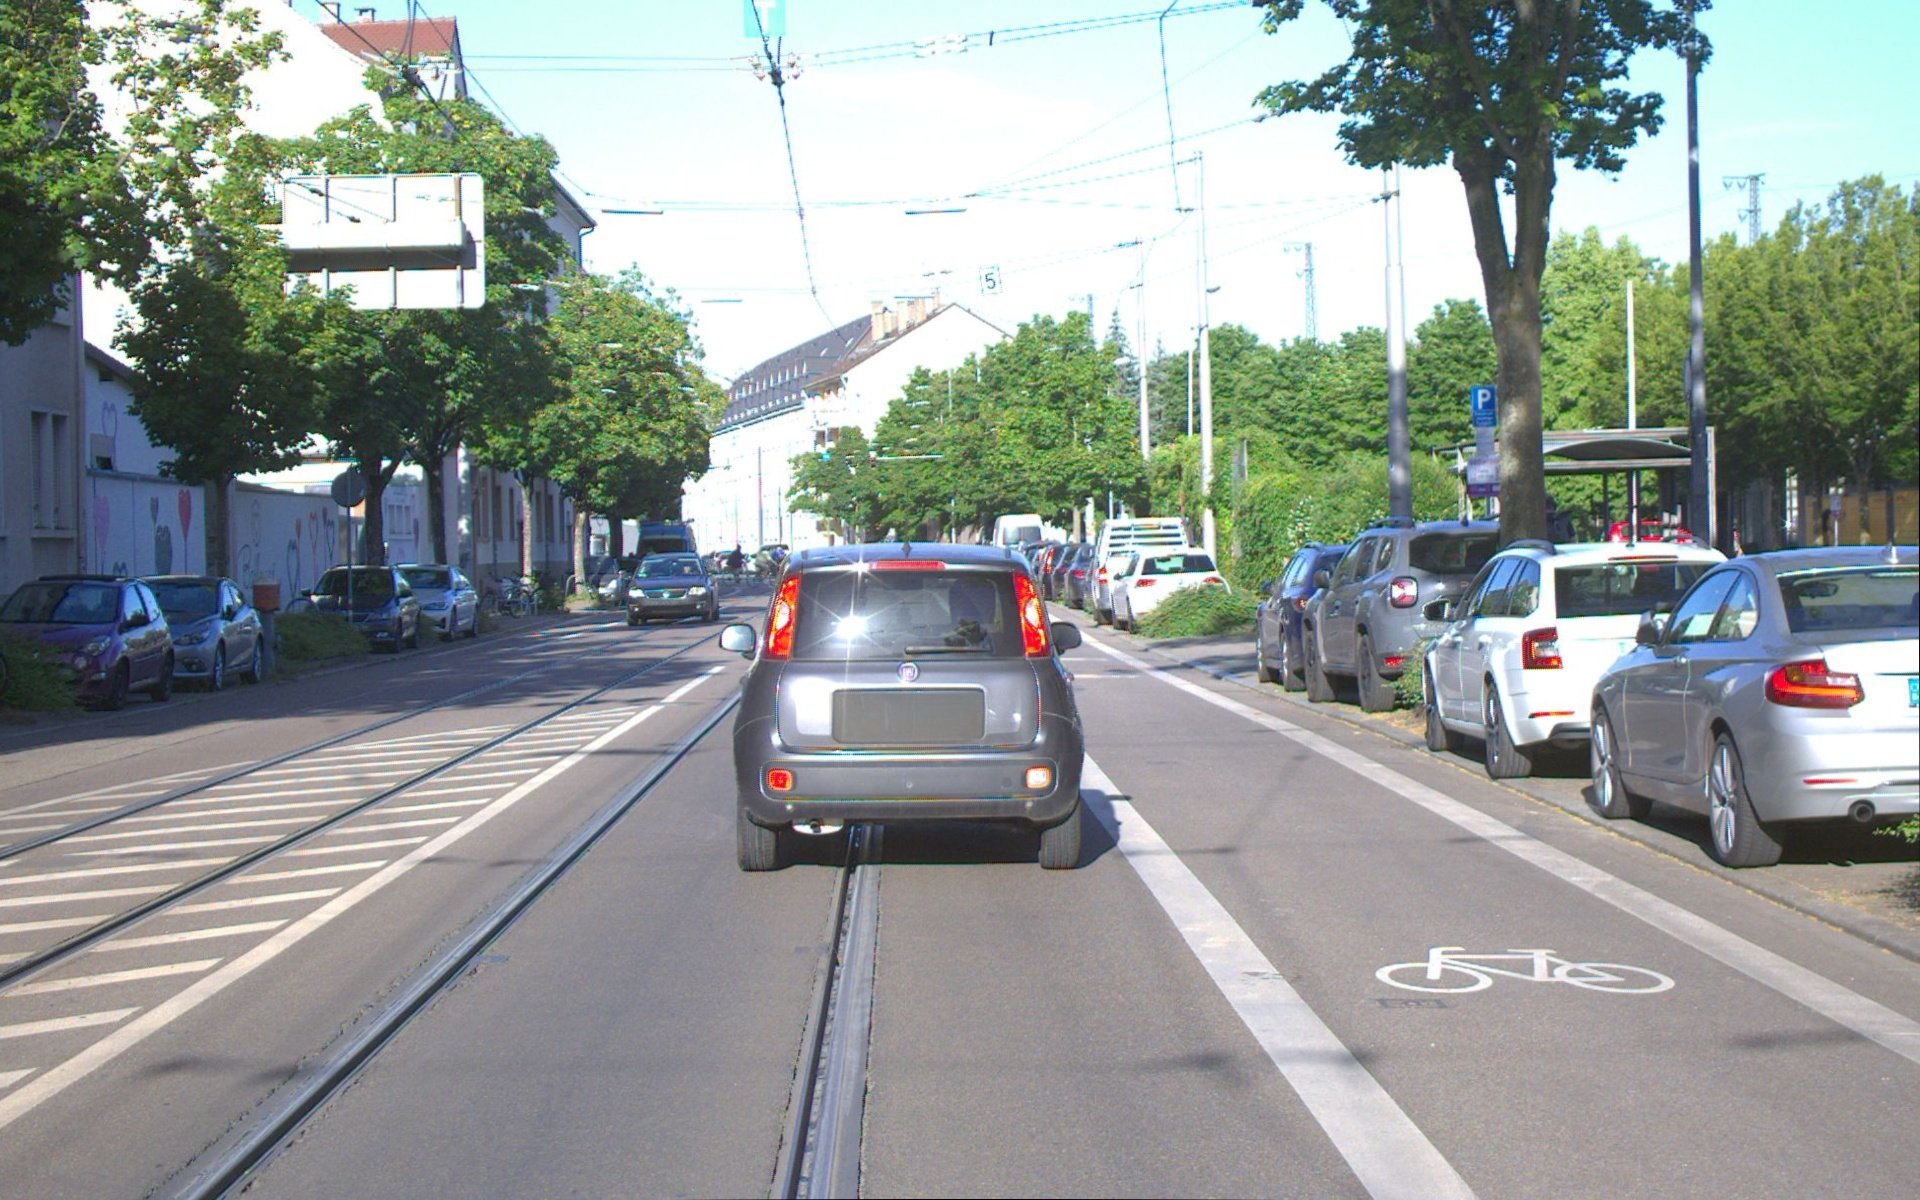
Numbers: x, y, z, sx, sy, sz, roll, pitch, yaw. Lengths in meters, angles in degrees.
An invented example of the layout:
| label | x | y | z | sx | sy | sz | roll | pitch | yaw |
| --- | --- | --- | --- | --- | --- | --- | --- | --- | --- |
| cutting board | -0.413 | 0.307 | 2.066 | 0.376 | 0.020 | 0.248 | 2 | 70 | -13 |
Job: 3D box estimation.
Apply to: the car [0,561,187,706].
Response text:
| label | x | y | z | sx | sy | sz | roll | pitch | yaw |
| --- | --- | --- | --- | --- | --- | --- | --- | --- | --- |
| car | -10.043 | 0.345 | 38.970 | 1.797 | 1.481 | 4.001 | -2 | 1 | -3 |

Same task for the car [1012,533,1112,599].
| label | x | y | z | sx | sy | sz | roll | pitch | yaw |
| --- | --- | --- | --- | --- | --- | --- | --- | --- | --- |
| car | 2.335 | -0.806 | 79.705 | 1.955 | 1.415 | 4.189 | -2 | 1 | -2 |

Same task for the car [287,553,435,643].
| label | x | y | z | sx | sy | sz | roll | pitch | yaw |
| --- | --- | --- | --- | --- | --- | --- | --- | --- | --- |
| car | -10.362 | -0.059 | 59.721 | 1.955 | 1.415 | 4.189 | -2 | 1 | -2 |

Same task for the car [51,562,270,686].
| label | x | y | z | sx | sy | sz | roll | pitch | yaw |
| --- | --- | --- | --- | --- | --- | --- | --- | --- | --- |
| car | -10.216 | 0.268 | 44.210 | 1.955 | 1.415 | 4.189 | -2 | 1 | -2 |

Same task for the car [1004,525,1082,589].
| label | x | y | z | sx | sy | sz | roll | pitch | yaw |
| --- | --- | --- | --- | --- | --- | --- | --- | --- | --- |
| car | 2.115 | -1.111 | 88.110 | 1.695 | 1.542 | 4.001 | -2 | 1 | -2 |

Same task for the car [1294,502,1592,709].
| label | x | y | z | sx | sy | sz | roll | pitch | yaw |
| --- | --- | --- | --- | --- | --- | --- | --- | --- | --- |
| car | 4.154 | 0.003 | 30.185 | 1.817 | 1.634 | 4.105 | -2 | 1 | -2 |

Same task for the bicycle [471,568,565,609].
| label | x | y | z | sx | sy | sz | roll | pitch | yaw |
| --- | --- | --- | --- | --- | --- | --- | --- | --- | --- |
| bicycle | -10.764 | -0.288 | 83.682 | 2.322 | 0.927 | 0.789 | -1 | 1 | 35 |

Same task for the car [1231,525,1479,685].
| label | x | y | z | sx | sy | sz | roll | pitch | yaw |
| --- | --- | --- | --- | --- | --- | --- | --- | --- | --- |
| car | 3.978 | 0.010 | 35.283 | 1.842 | 1.478 | 4.189 | -2 | 1 | -2 |

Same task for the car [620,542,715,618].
| label | x | y | z | sx | sy | sz | roll | pitch | yaw |
| --- | --- | --- | --- | --- | --- | --- | --- | --- | --- |
| car | -6.097 | -0.447 | 72.074 | 1.781 | 1.487 | 4.189 | -1 | 1 | -2 |

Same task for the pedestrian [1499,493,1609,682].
| label | x | y | z | sx | sy | sz | roll | pitch | yaw |
| --- | --- | --- | --- | --- | --- | --- | --- | --- | --- |
| pedestrian | 6.485 | -0.143 | 37.593 | 0.968 | 2.007 | 1.025 | -2 | 1 | 0 |

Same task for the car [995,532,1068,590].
| label | x | y | z | sx | sy | sz | roll | pitch | yaw |
| --- | --- | --- | --- | --- | --- | --- | --- | --- | --- |
| car | 1.947 | -1.098 | 94.531 | 1.695 | 1.494 | 4.001 | -2 | 1 | -2 |

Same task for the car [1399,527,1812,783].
| label | x | y | z | sx | sy | sz | roll | pitch | yaw |
| --- | --- | --- | --- | --- | --- | --- | --- | --- | --- |
| car | 4.112 | 0.277 | 22.629 | 1.746 | 1.453 | 4.619 | -2 | 1 | -1 |

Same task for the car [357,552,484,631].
| label | x | y | z | sx | sy | sz | roll | pitch | yaw |
| --- | --- | --- | --- | --- | --- | --- | --- | --- | --- |
| car | -10.478 | -0.192 | 67.032 | 1.955 | 1.415 | 4.189 | -2 | 1 | -2 |

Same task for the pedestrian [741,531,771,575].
| label | x | y | z | sx | sy | sz | roll | pitch | yaw |
| --- | --- | --- | --- | --- | --- | --- | --- | --- | --- |
| pedestrian | -8.366 | -1.934 | 140.895 | 0.998 | 1.768 | 0.891 | -2 | 1 | -14 |

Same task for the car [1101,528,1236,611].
| label | x | y | z | sx | sy | sz | roll | pitch | yaw |
| --- | --- | --- | --- | --- | --- | --- | --- | --- | --- |
| car | 3.669 | -0.563 | 61.137 | 1.914 | 1.371 | 4.189 | -2 | 1 | -2 |

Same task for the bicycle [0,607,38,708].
| label | x | y | z | sx | sy | sz | roll | pitch | yaw |
| --- | --- | --- | --- | --- | --- | --- | --- | --- | --- |
| bicycle | -10.324 | 0.590 | 34.999 | 1.744 | 1.020 | 0.609 | -1 | 0 | -21 |

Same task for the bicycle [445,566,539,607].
| label | x | y | z | sx | sy | sz | roll | pitch | yaw |
| --- | --- | --- | --- | --- | --- | --- | --- | --- | --- |
| bicycle | -11.277 | -0.319 | 82.827 | 2.263 | 0.927 | 0.789 | -1 | 1 | 35 |

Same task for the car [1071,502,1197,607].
| label | x | y | z | sx | sy | sz | roll | pitch | yaw |
| --- | --- | --- | --- | --- | --- | --- | --- | --- | --- |
| car | 3.308 | -0.889 | 66.040 | 1.955 | 1.898 | 4.189 | -2 | 1 | -2 |

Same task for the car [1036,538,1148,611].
| label | x | y | z | sx | sy | sz | roll | pitch | yaw |
| --- | --- | --- | --- | --- | --- | --- | --- | --- | --- |
| car | 2.724 | -0.553 | 71.750 | 1.955 | 1.415 | 4.189 | -2 | 1 | -2 |

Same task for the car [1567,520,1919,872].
| label | x | y | z | sx | sy | sz | roll | pitch | yaw |
| --- | --- | --- | --- | --- | --- | --- | --- | --- | --- |
| car | 4.286 | 0.360 | 16.690 | 1.822 | 1.459 | 4.157 | -2 | 1 | -1 |

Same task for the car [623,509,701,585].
| label | x | y | z | sx | sy | sz | roll | pitch | yaw |
| --- | --- | --- | --- | --- | --- | --- | --- | --- | --- |
| car | -10.556 | -1.911 | 122.157 | 2.333 | 2.560 | 5.672 | -2 | 1 | -1 |

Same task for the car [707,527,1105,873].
| label | x | y | z | sx | sy | sz | roll | pitch | yaw |
| --- | --- | --- | --- | --- | --- | --- | --- | --- | --- |
| car | -0.270 | 0.423 | 17.311 | 1.731 | 1.495 | 4.000 | -2 | 1 | -1 |
